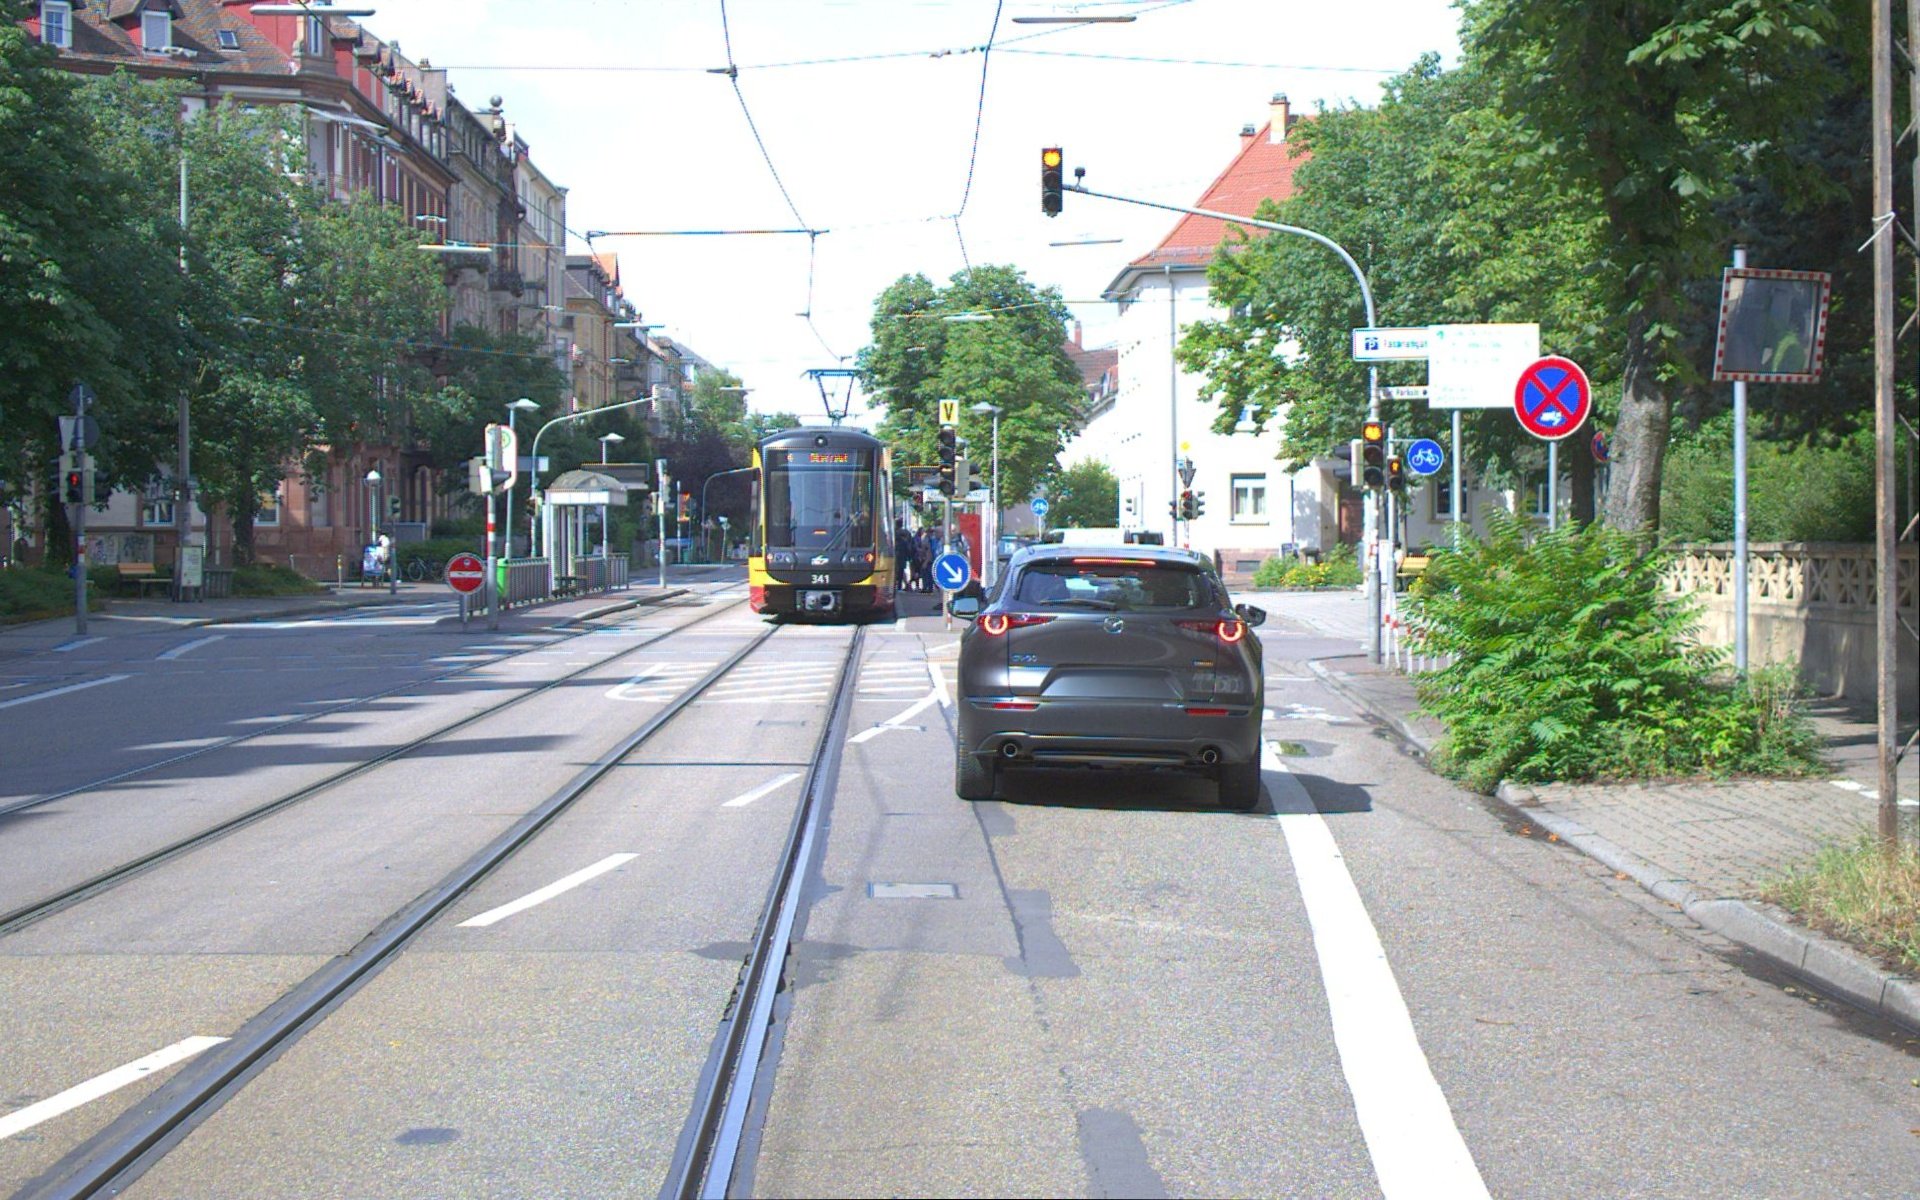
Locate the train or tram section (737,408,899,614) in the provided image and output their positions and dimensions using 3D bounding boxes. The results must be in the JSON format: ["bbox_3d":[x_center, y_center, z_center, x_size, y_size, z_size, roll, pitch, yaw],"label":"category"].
[{"bbox_3d":[-2.730,-1.601,63.706,2.651,3.515,8.498,-1,1,-4],"label":"train or tram section"}]

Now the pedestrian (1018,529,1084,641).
[{"bbox_3d":[1.298,-0.218,49.064,0.874,1.599,0.632,0,1,-5],"label":"pedestrian"}]

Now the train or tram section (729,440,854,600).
[{"bbox_3d":[-4.035,-1.830,80.679,2.651,3.515,8.498,-1,1,-4],"label":"train or tram section"}]

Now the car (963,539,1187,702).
[{"bbox_3d":[1.094,0.149,34.900,1.784,1.487,4.884,-1,1,-4],"label":"car"}]

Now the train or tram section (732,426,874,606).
[{"bbox_3d":[-3.379,-1.723,72.213,2.651,3.515,8.498,-1,1,-4],"label":"train or tram section"}]

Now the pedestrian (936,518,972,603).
[{"bbox_3d":[-0.116,-0.753,65.540,0.667,1.599,0.700,0,1,-3],"label":"pedestrian"}]

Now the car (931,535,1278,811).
[{"bbox_3d":[0.797,0.373,21.539,1.789,1.507,4.351,1,1,-2],"label":"car"}]
